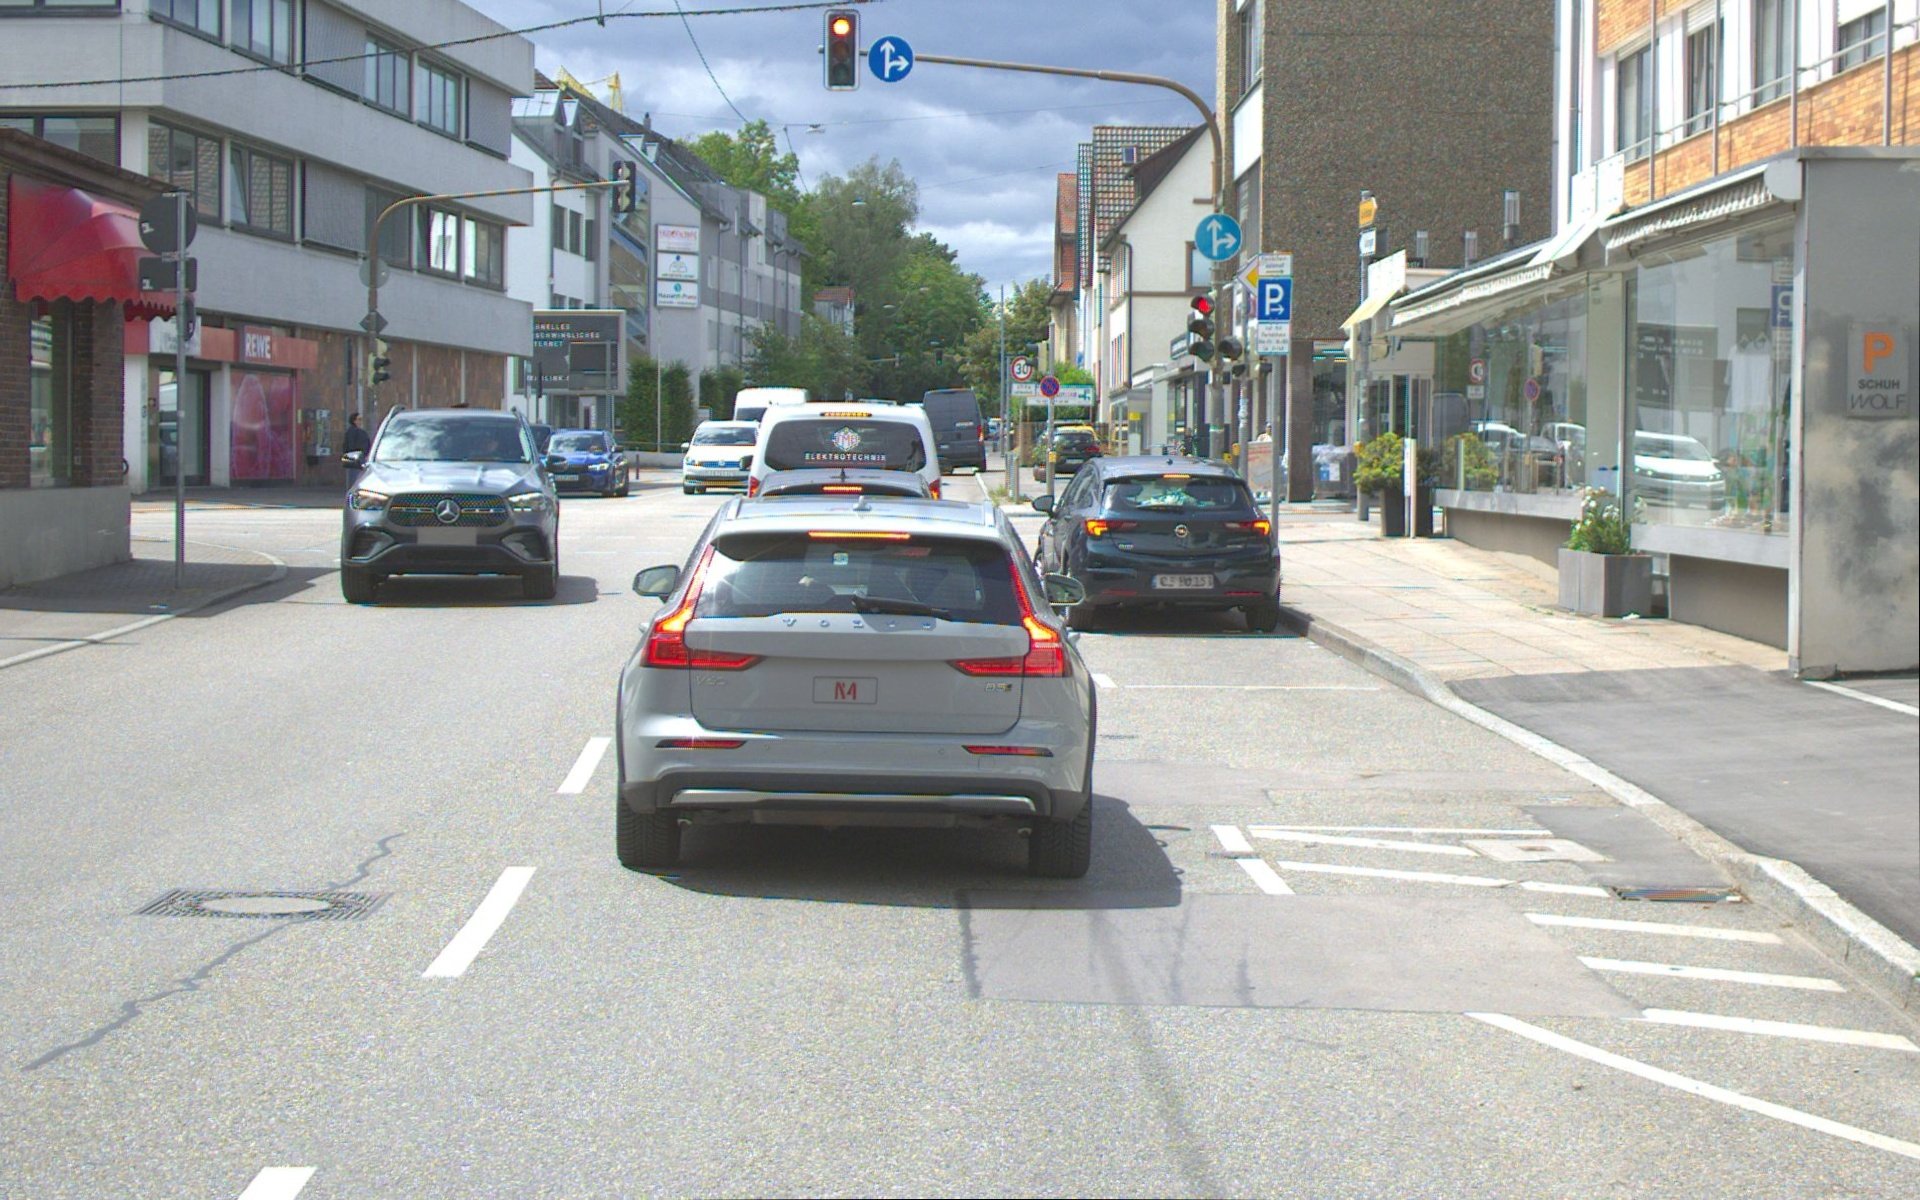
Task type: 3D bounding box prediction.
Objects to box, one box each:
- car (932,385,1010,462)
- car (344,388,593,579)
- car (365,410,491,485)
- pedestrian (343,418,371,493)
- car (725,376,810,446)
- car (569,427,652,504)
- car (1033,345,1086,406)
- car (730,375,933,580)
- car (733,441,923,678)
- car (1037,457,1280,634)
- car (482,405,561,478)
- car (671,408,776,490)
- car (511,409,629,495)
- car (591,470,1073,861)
[{"bbox_3d":[0.345,-5.841,114.222,2.436,2.310,5.327,2,1,-1],"label":"car"},{"bbox_3d":[-4.710,-1.107,33.485,1.839,1.720,4.352,0,1,-1],"label":"car"},{"bbox_3d":[-11.251,-3.219,72.970,1.993,1.393,4.000,2,1,0],"label":"car"},{"bbox_3d":[-11.585,-2.764,66.044,0.514,1.431,0.490,0,1,-9],"label":"pedestrian"},{"bbox_3d":[-5.071,-4.986,90.874,1.873,1.634,4.000,1,0,2],"label":"car"},{"bbox_3d":[-9.923,-3.811,97.904,1.993,2.007,4.000,2,1,-1],"label":"car"},{"bbox_3d":[3.690,-8.319,127.565,1.802,2.007,4.000,1,0,0],"label":"car"},{"bbox_3d":[-1.203,-1.160,33.724,1.836,1.855,3.850,1,1,0],"label":"car"},{"bbox_3d":[-0.916,-0.343,24.711,1.273,1.522,3.051,0,4,-1],"label":"car"},{"bbox_3d":[1.671,-0.527,30.215,1.753,1.366,4.001,1,3,-2],"label":"car"},{"bbox_3d":[-10.093,-3.634,79.281,1.384,1.535,3.399,1,0,0],"label":"car"},{"bbox_3d":[-5.243,-3.350,76.751,1.873,1.634,4.000,2,1,2],"label":"car"},{"bbox_3d":[-8.259,-3.115,73.080,1.873,1.634,4.000,2,1,2],"label":"car"},{"bbox_3d":[-0.479,0.203,14.487,1.744,1.412,4.000,0,1,0],"label":"car"}]
